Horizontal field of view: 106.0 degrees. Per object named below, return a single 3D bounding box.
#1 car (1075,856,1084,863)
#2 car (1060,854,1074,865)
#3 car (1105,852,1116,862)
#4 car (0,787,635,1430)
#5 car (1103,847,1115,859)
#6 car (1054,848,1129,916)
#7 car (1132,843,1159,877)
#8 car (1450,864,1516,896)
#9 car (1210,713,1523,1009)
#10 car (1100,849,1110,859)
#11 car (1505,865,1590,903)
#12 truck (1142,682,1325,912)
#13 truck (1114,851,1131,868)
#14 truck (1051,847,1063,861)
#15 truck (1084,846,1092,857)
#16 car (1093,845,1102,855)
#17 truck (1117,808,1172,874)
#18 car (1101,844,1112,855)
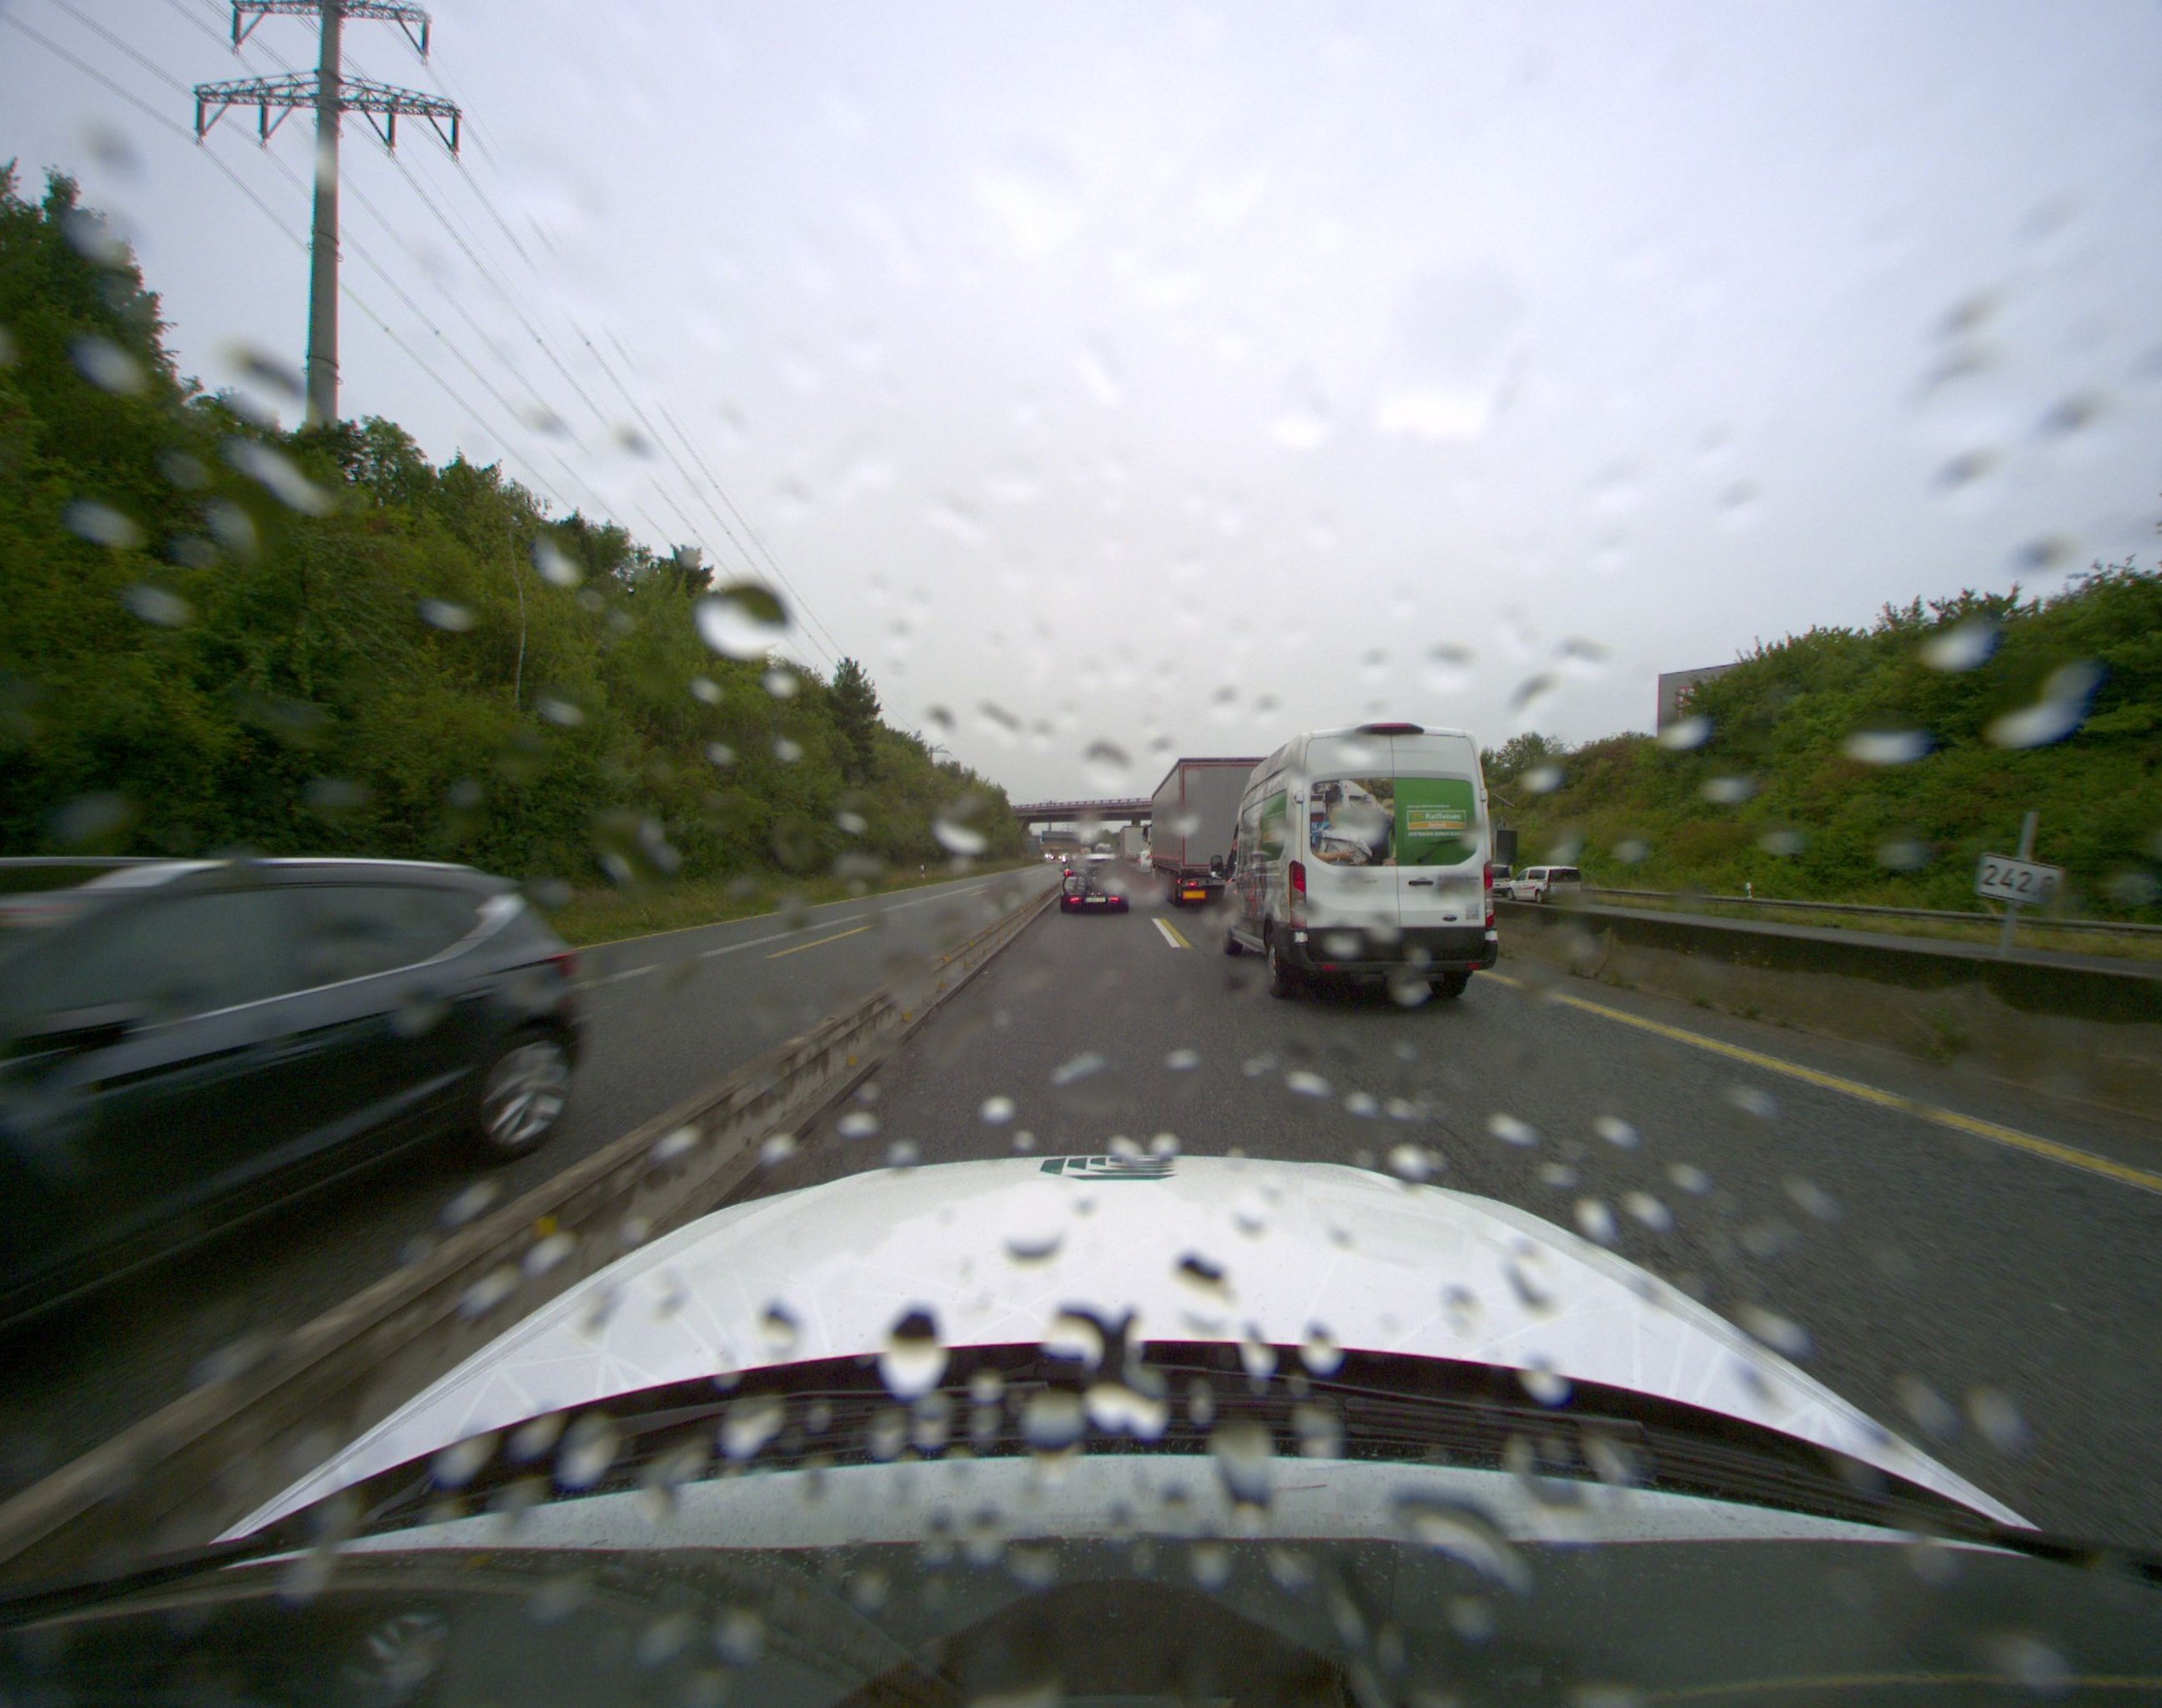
[{"bbox_3d":[-0.283,1.271,190.609,1.803,1.633,4.120,0,-1,3],"label":"car"},{"bbox_3d":[-2.041,0.762,120.206,1.788,1.556,4.001,0,-1,2],"label":"car"},{"bbox_3d":[4.751,0.504,131.107,1.632,1.497,3.667,0,-1,2],"label":"car"},{"bbox_3d":[-3.670,0.678,2.944,1.755,1.684,4.003,0,-1,3],"label":"car"},{"bbox_3d":[4.895,-0.102,142.844,1.986,2.014,4.001,0,-1,2],"label":"car"},{"bbox_3d":[0.370,0.708,22.162,1.803,1.637,4.638,0,-1,3],"label":"car"},{"bbox_3d":[4.304,0.411,54.960,1.663,2.180,4.538,0,-1,3],"label":"car"},{"bbox_3d":[22.984,1.443,46.731,1.723,1.757,4.268,0,-1,1],"label":"car"},{"bbox_3d":[3.072,0.091,10.477,2.135,2.676,6.121,0,-1,3],"label":"car"},{"bbox_3d":[4.632,0.016,156.902,1.986,2.014,4.001,0,-1,2],"label":"car"},{"bbox_3d":[22.798,1.419,39.974,1.723,1.769,4.329,0,-1,1],"label":"car"},{"bbox_3d":[4.530,-1.328,30.353,3.963,5.673,20.389,0,0,3],"label":"truck"},{"bbox_3d":[5.000,0.662,99.064,1.986,2.014,4.001,0,-1,2],"label":"truck"},{"bbox_3d":[-6.353,0.039,215.263,2.526,3.352,12.050,0,0,1],"label":"truck"},{"bbox_3d":[2.140,-0.762,251.950,2.526,3.352,12.050,0,0,1],"label":"truck"},{"bbox_3d":[3.765,-0.955,182.440,1.986,2.126,4.528,0,-1,2],"label":"car"},{"bbox_3d":[5.989,-1.079,80.872,4.723,5.673,20.389,0,0,3],"label":"truck"},{"bbox_3d":[5.378,-0.883,169.753,2.231,2.307,4.573,0,-1,2],"label":"car"}]
